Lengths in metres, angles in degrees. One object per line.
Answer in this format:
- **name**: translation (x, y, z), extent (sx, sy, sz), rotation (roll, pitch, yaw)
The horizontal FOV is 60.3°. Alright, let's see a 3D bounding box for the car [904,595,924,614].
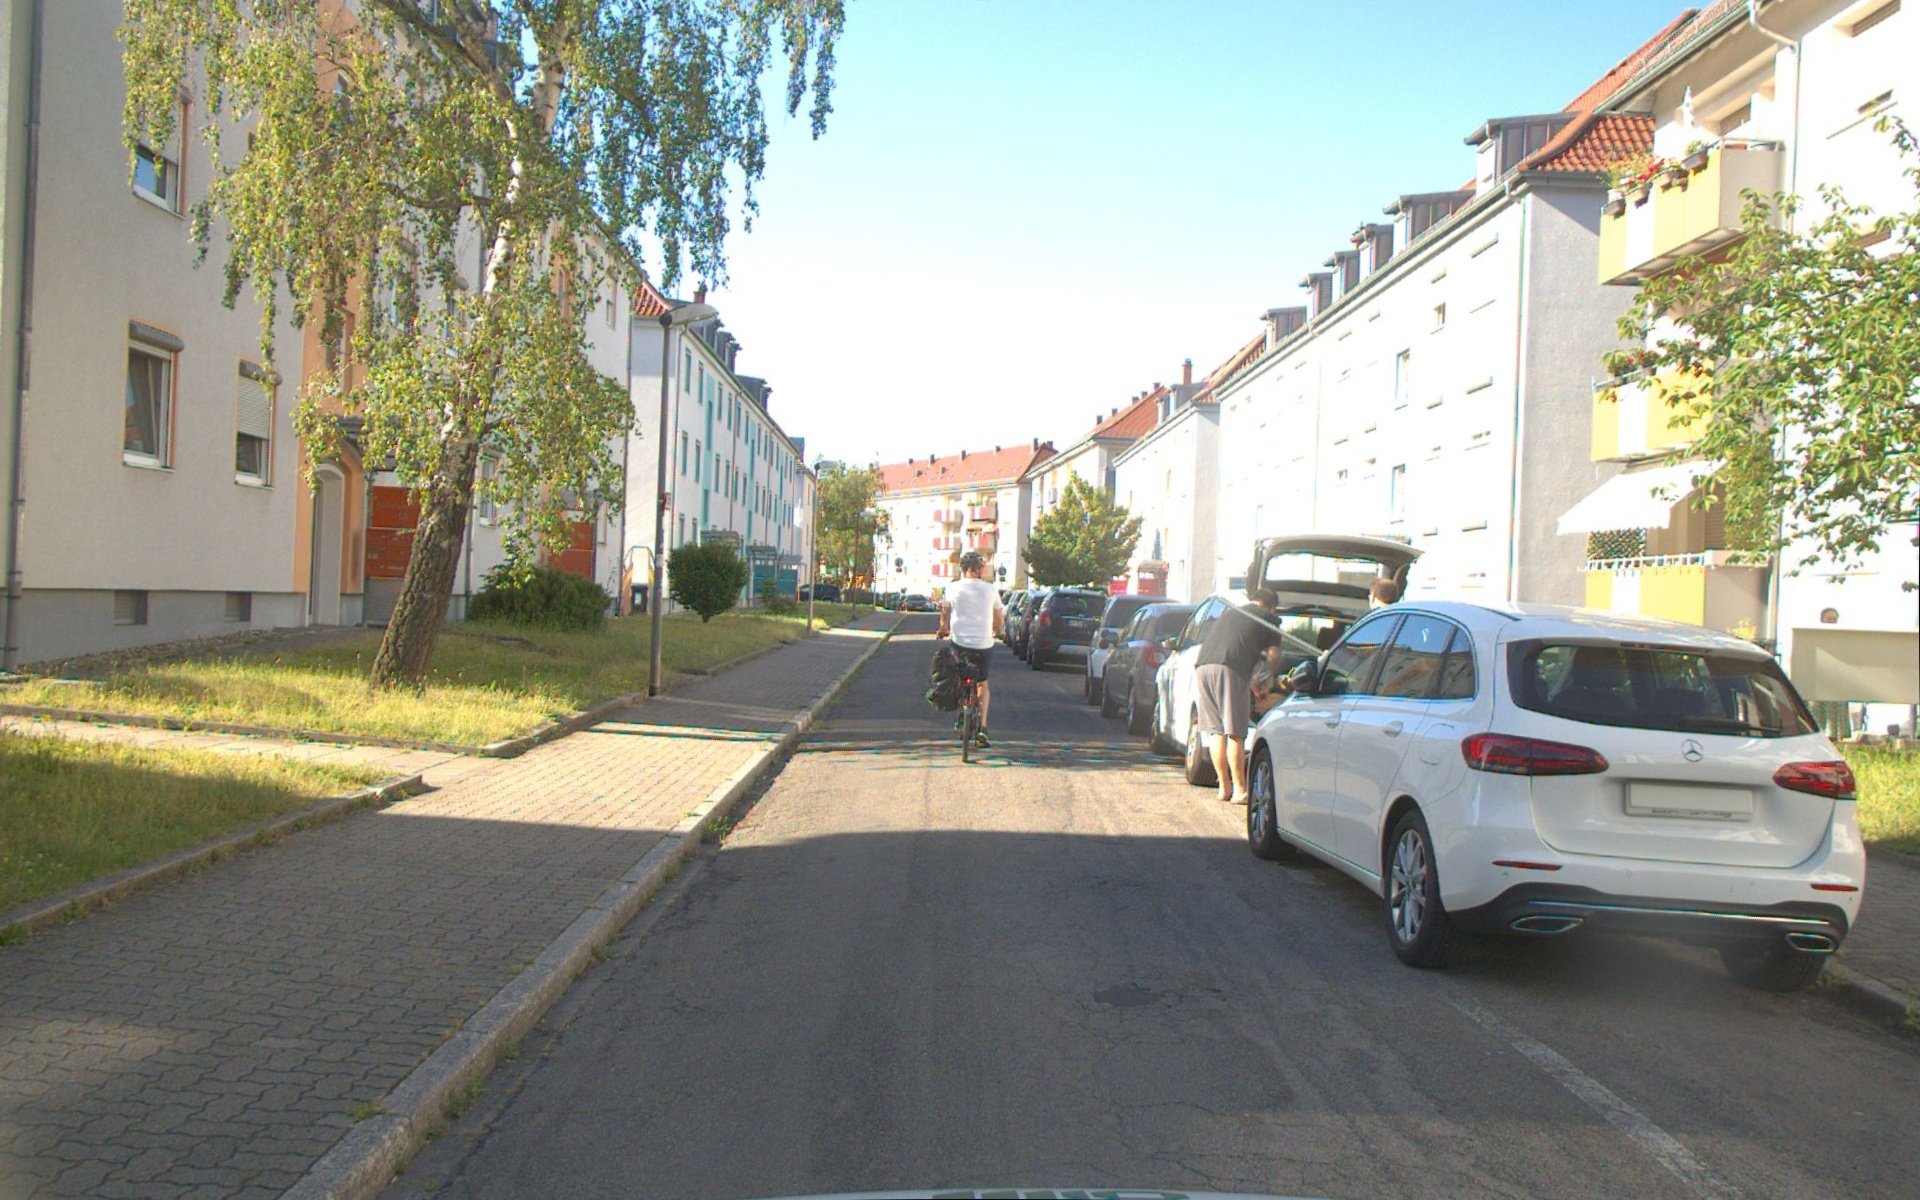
- **car**: translation (-3.664, 0.356, 131.177), extent (1.440, 1.358, 3.139), rotation (2, 0, -3)

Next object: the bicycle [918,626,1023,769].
- **bicycle**: translation (0.064, 0.839, 14.943), extent (0.792, 1.148, 2.100), rotation (1, 0, -3)

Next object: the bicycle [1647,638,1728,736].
- **bicycle**: translation (8.792, 1.029, 20.019), extent (0.395, 1.106, 1.299), rotation (1, 0, 0)

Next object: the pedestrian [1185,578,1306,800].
- **pedestrian**: translation (2.130, 0.642, 12.428), extent (0.724, 1.602, 0.879), rotation (1, 0, -2)

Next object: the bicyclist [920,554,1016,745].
- **bicyclist**: translation (0.065, 0.439, 15.035), extent (0.792, 1.672, 0.898), rotation (1, 0, -3)

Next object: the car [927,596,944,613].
- **car**: translation (-2.384, 0.456, 160.141), extent (1.440, 1.542, 3.075), rotation (2, 0, -3)

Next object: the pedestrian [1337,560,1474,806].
- **pedestrian**: translation (3.196, 0.582, 11.910), extent (0.803, 1.717, 0.604), rotation (1, 0, -2)

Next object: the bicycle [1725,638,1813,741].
- **bicycle**: translation (9.677, 1.053, 19.822), extent (0.395, 1.152, 1.273), rotation (2, 0, 0)

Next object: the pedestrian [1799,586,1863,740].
- **pedestrian**: translation (8.783, 0.632, 16.684), extent (0.441, 1.521, 0.360), rotation (1, -2, -1)

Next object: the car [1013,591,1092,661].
- **car**: translation (2.159, 0.573, 39.425), extent (1.608, 1.524, 4.156), rotation (2, 0, 0)

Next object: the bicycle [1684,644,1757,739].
- **bicycle**: translation (8.782, 1.052, 19.110), extent (0.725, 1.065, 0.239), rotation (1, 0, 1)

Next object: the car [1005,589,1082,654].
- **car**: translation (2.224, 0.541, 45.033), extent (1.656, 1.602, 4.433), rotation (3, 0, -2)

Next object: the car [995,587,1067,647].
- **car**: translation (2.152, 0.483, 51.084), extent (1.716, 1.645, 4.449), rotation (4, 0, -3)

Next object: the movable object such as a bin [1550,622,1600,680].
- **movable object such as a bin**: translation (11.296, 0.934, 30.390), extent (0.629, 1.053, 0.757), rotation (0, -2, -1)

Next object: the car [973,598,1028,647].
- **car**: translation (1.527, 0.830, 63.669), extent (1.824, 1.697, 4.126), rotation (4, 0, -1)

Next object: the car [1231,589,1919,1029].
- **car**: translation (2.718, 0.760, 8.250), extent (1.737, 1.531, 4.478), rotation (3, 0, -3)

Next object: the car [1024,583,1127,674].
- **car**: translation (2.324, 0.541, 34.331), extent (1.747, 1.676, 4.468), rotation (3, 0, 0)

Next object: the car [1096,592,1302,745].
- **car**: translation (2.728, 0.728, 19.687), extent (1.660, 1.517, 3.983), rotation (4, 0, -2)

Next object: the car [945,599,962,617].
- **car**: translation (-0.600, 0.722, 147.536), extent (1.354, 1.523, 3.075), rotation (2, 0, -3)

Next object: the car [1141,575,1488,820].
- **car**: translation (2.832, 0.693, 14.451), extent (1.953, 1.641, 4.996), rotation (4, 0, 1)

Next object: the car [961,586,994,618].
- **car**: translation (1.022, 0.116, 98.281), extent (1.641, 1.769, 3.940), rotation (3, 0, -3)

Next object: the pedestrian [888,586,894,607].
- **pedestrian**: translation (-5.323, -0.276, 127.106), extent (0.425, 1.602, 0.543), rotation (2, 0, -1)

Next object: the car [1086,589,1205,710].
- **car**: translation (2.654, 0.682, 24.161), extent (1.449, 1.555, 2.942), rotation (4, 0, 3)
